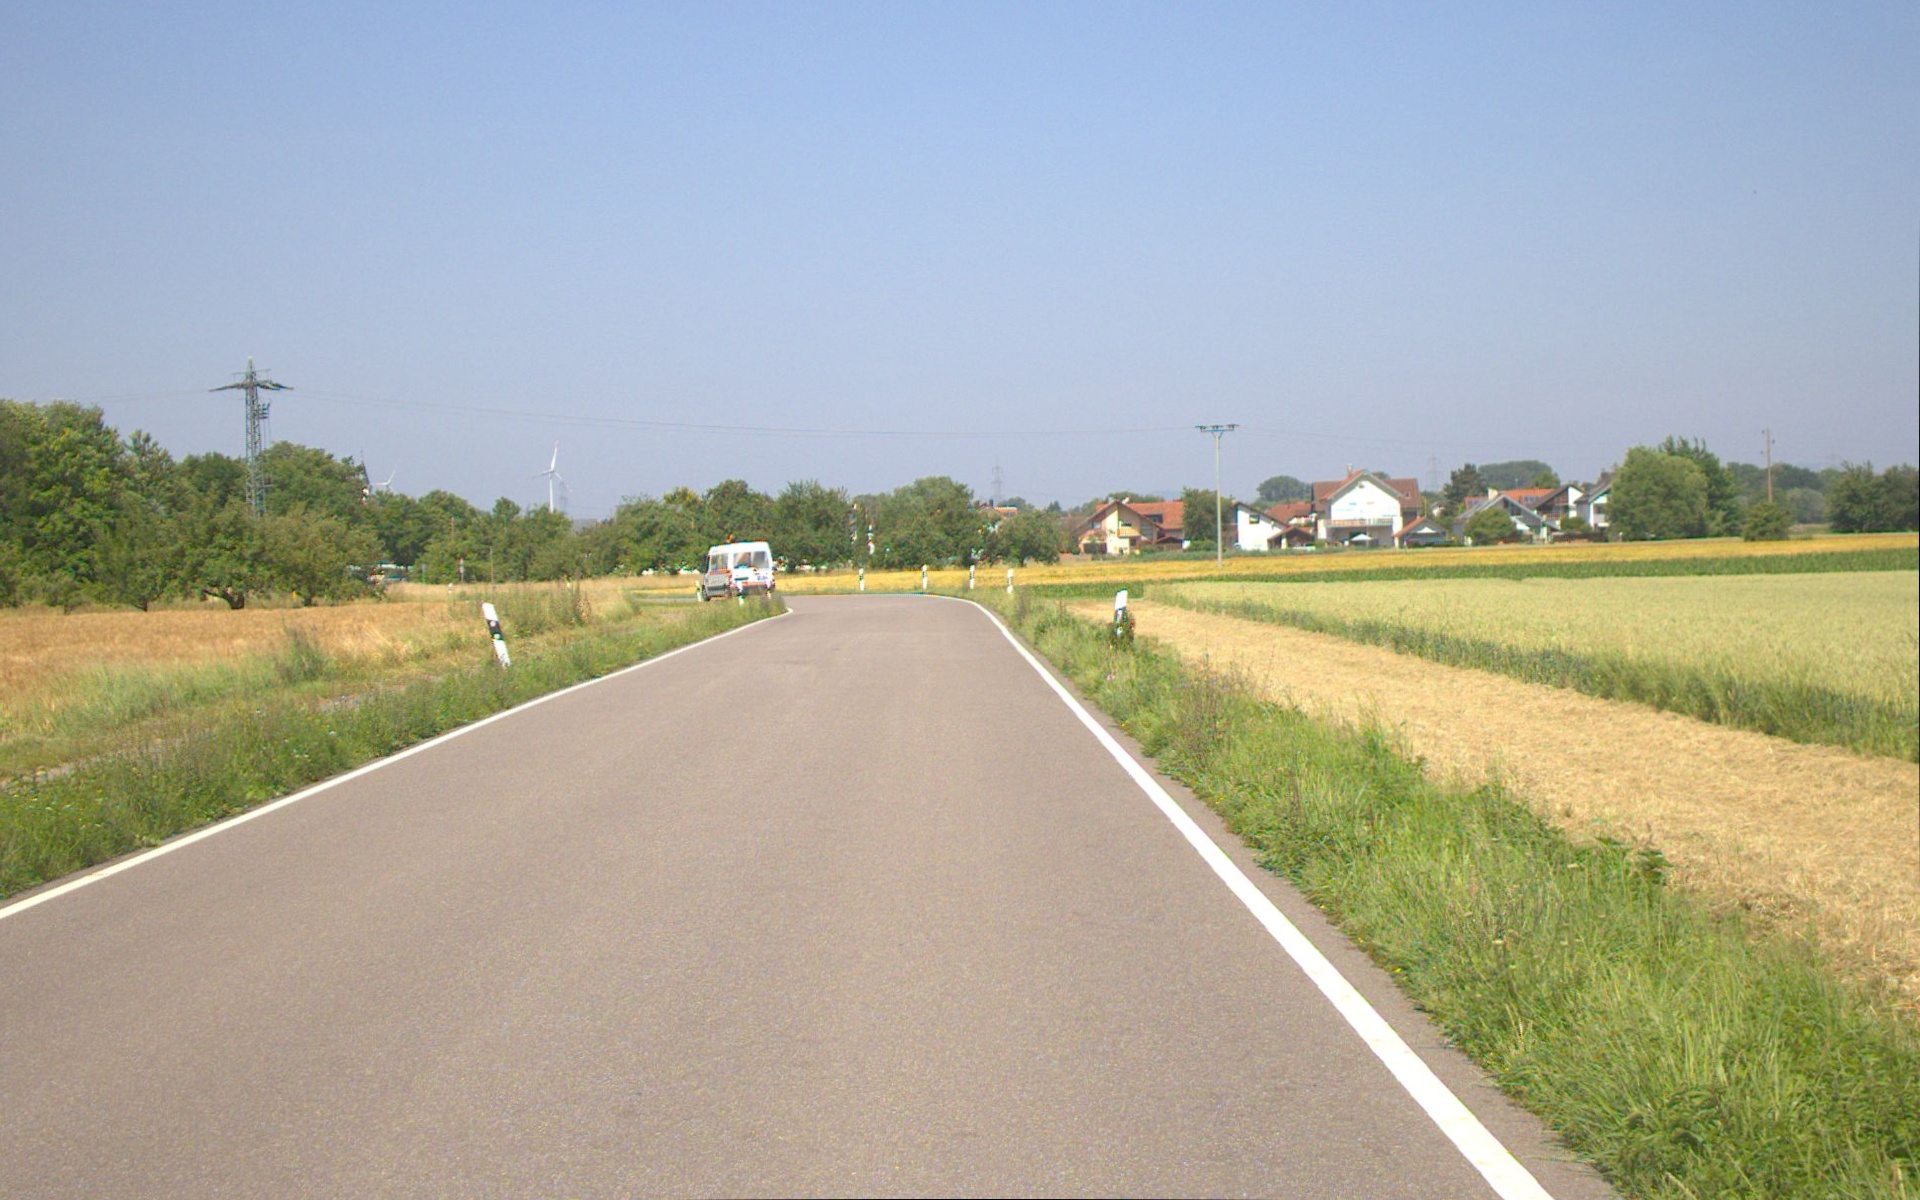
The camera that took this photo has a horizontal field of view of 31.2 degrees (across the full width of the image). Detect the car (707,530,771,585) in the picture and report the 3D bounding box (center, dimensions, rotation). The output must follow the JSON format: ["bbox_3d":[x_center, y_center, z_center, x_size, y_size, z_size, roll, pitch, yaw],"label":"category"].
[{"bbox_3d":[-9.611,-1.849,149.041,2.106,2.296,5.497,0,1,-10],"label":"car"}]
